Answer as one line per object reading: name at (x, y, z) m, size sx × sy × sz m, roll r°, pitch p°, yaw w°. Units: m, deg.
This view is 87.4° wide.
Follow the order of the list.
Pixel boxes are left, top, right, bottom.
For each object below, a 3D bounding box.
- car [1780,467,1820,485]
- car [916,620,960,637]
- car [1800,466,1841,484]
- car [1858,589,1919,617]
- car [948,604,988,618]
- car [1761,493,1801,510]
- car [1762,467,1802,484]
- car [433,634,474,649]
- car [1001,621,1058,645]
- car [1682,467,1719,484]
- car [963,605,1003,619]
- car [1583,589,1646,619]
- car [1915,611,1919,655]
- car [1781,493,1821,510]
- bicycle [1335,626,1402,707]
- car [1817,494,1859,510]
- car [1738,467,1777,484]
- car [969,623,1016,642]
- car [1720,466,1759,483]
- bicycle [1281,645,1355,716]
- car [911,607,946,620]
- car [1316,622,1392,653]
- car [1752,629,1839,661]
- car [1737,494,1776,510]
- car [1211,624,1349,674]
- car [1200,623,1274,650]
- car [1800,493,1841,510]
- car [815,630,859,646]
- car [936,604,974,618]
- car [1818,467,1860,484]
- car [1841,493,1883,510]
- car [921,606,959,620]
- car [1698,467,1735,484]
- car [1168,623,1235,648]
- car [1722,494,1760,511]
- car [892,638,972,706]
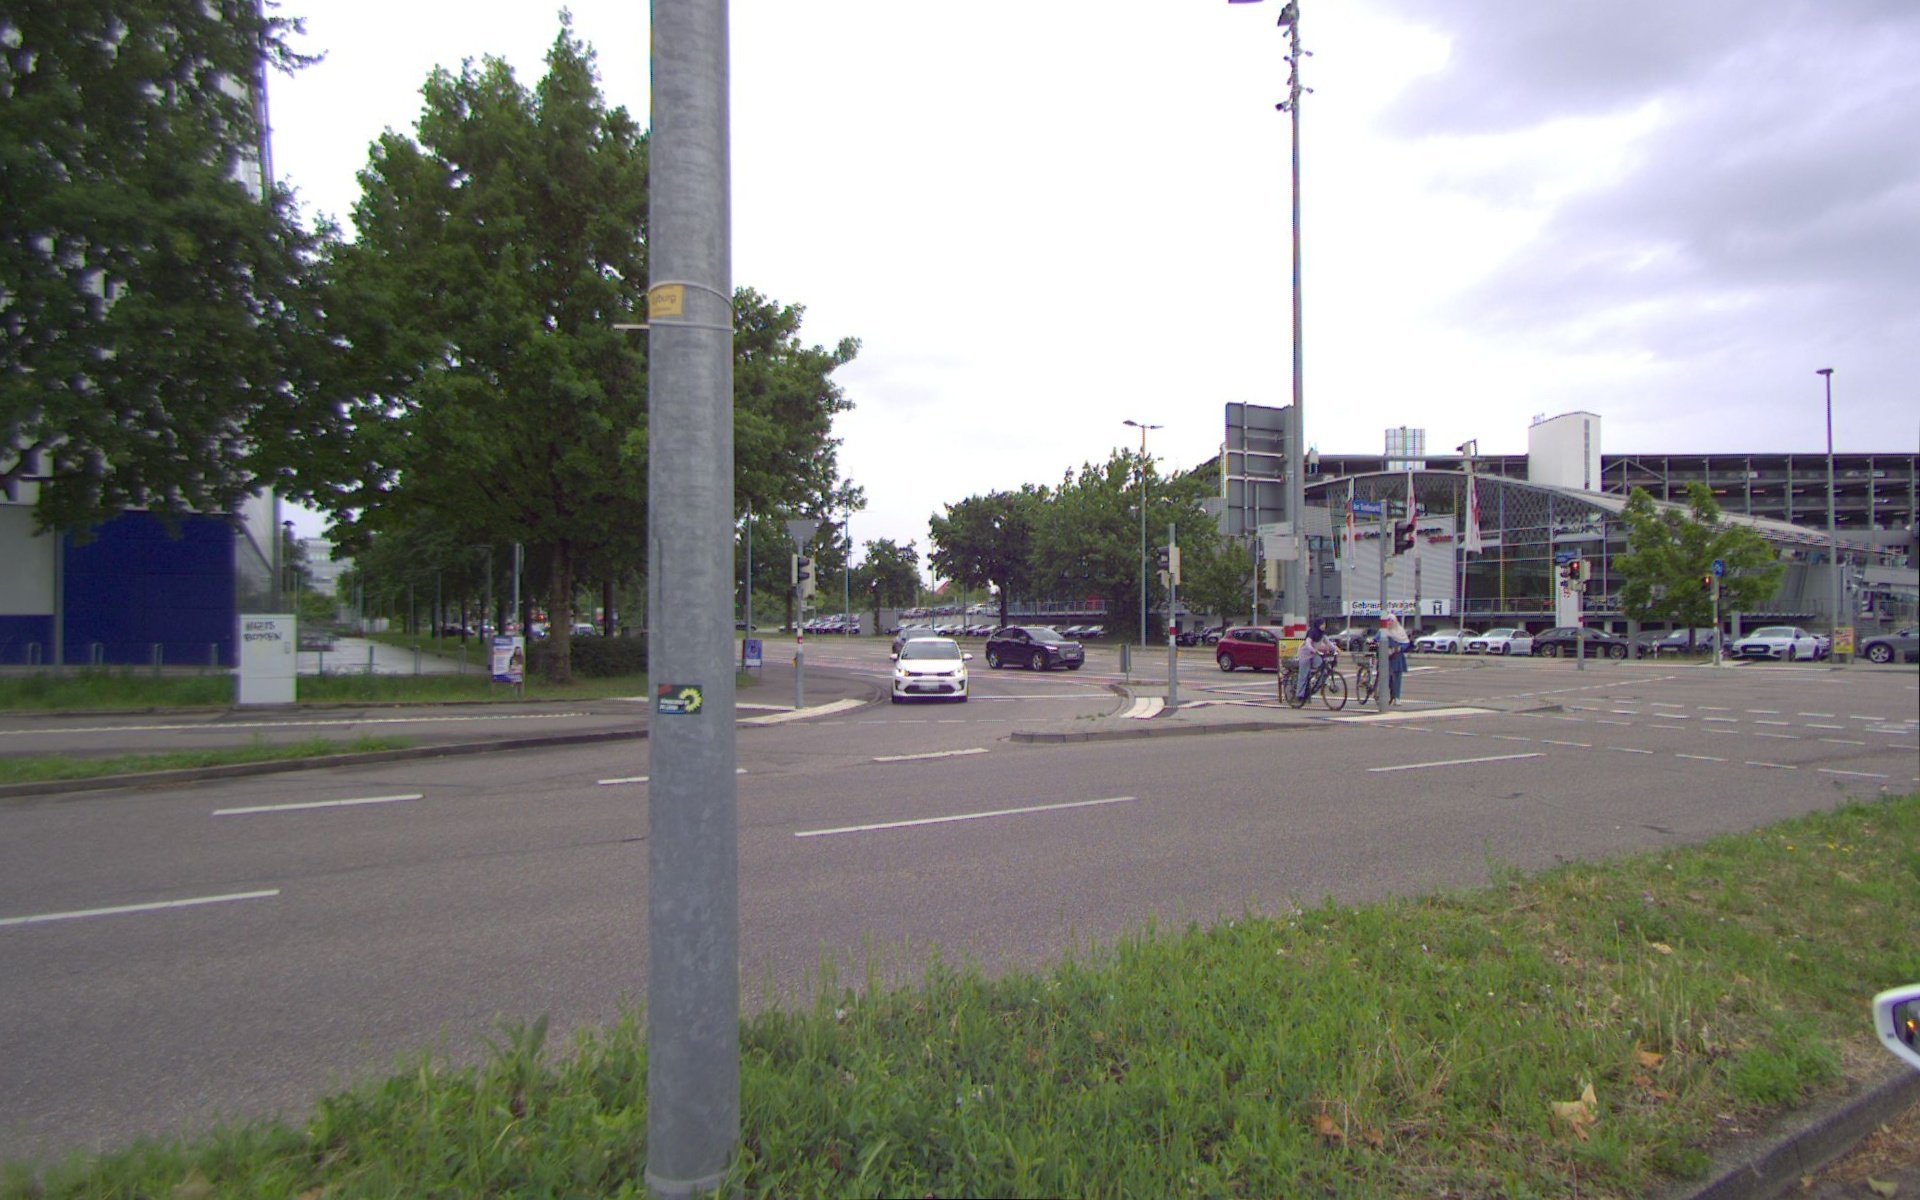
car at (108.899, -16.070, 130.294) m, size 1.960 × 1.689 × 4.001 m, roll 1°, pitch 0°, yaw 2°
car at (-1.986, 2.591, 91.024) m, size 3.639 × 1.506 × 1.696 m, roll 2°, pitch 0°, yaw -34°
car at (111.533, -16.178, 130.227) m, size 1.960 × 1.689 × 4.001 m, roll 1°, pitch 0°, yaw 2°
car at (65.065, 0.215, 69.572) m, size 1.740 × 1.862 × 3.965 m, roll 2°, pitch 0°, yaw -32°
car at (0.969, 1.311, 118.547) m, size 4.306 × 1.516 × 2.049 m, roll 2°, pitch 0°, yaw -35°
car at (106.471, -12.765, 130.270) m, size 1.960 × 1.689 × 4.001 m, roll 1°, pitch 0°, yaw 2°
car at (106.626, -16.139, 130.301) m, size 1.960 × 1.689 × 4.001 m, roll 1°, pitch 0°, yaw 2°
car at (-58.821, 4.782, 116.683) m, size 3.962 × 1.639 × 1.785 m, roll 2°, pitch 0°, yaw -37°
car at (5.580, 2.631, 80.737) m, size 4.168 × 1.505 × 1.940 m, roll 7°, pitch -3°, yaw -34°
car at (96.319, -16.169, 130.676) m, size 1.960 × 1.689 × 4.001 m, roll 1°, pitch 0°, yaw 2°
car at (2.660, 1.351, 116.200) m, size 4.306 × 1.516 × 1.863 m, roll 2°, pitch 0°, yaw -35°
car at (39.401, 0.269, 60.427) m, size 3.960 × 1.684 × 1.807 m, roll 2°, pitch 0°, yaw -35°
car at (46.307, 1.436, 45.032) m, size 1.981 × 2.040 × 4.742 m, roll 2°, pitch -4°, yaw -35°
car at (108.930, -12.758, 130.160) m, size 1.960 × 1.689 × 4.001 m, roll 1°, pitch 0°, yaw 2°
bicycle at (7.540, 1.225, 18.622) m, size 0.585 × 1.414 × 1.936 m, roll -2°, pitch -4°, yaw 7°
car at (113.577, -12.701, 130.011) m, size 1.960 × 1.689 × 4.001 m, roll 1°, pitch 0°, yaw 2°
car at (103.562, -16.208, 130.455) m, size 1.960 × 1.689 × 4.001 m, roll 1°, pitch 0°, yaw 2°
car at (2.719, 2.741, 84.420) m, size 3.639 × 1.506 × 1.696 m, roll 2°, pitch 0°, yaw -34°
car at (101.353, -16.273, 130.641) m, size 1.960 × 1.689 × 4.001 m, roll 1°, pitch 0°, yaw 2°
bicycle at (6.350, 1.408, 17.933) m, size 0.498 × 1.181 × 1.947 m, roll 2°, pitch -3°, yaw -3°
car at (-3.928, 1.694, 124.558) m, size 4.058 × 1.516 × 1.713 m, roll 2°, pitch 0°, yaw -35°
car at (21.625, 2.086, 55.117) m, size 4.148 × 1.505 × 1.891 m, roll 4°, pitch -3°, yaw -34°
car at (53.313, 2.859, 64.133) m, size 1.742 × 1.862 × 3.960 m, roll 2°, pitch 0°, yaw -35°
car at (103.684, -12.728, 130.761) m, size 1.960 × 1.689 × 4.001 m, roll 1°, pitch 0°, yaw 2°
car at (10.246, 1.581, 32.429) m, size 1.724 × 1.507 × 4.039 m, roll 2°, pitch -3°, yaw -35°
car at (17.153, 2.263, 62.061) m, size 4.617 × 1.491 × 1.830 m, roll 4°, pitch -2°, yaw -34°
car at (111.432, -12.739, 130.113) m, size 1.960 × 1.689 × 4.001 m, roll 1°, pitch 0°, yaw 2°
car at (-13.521, 4.167, 110.138) m, size 4.413 × 1.592 × 1.981 m, roll 0°, pitch -1°, yaw -34°
car at (-0.598, 1.360, 120.553) m, size 4.306 × 1.516 × 1.951 m, roll 2°, pitch 0°, yaw -35°
car at (113.707, -16.106, 130.014) m, size 1.960 × 1.689 × 4.001 m, roll 1°, pitch 0°, yaw 2°
car at (116.548, -12.747, 129.880) m, size 1.960 × 1.689 × 4.001 m, roll 1°, pitch 0°, yaw 2°
car at (-2.431, 1.601, 122.418) m, size 4.306 × 1.516 × 1.863 m, roll 2°, pitch 0°, yaw -35°
car at (98.537, -16.254, 130.848) m, size 1.960 × 1.689 × 4.001 m, roll 1°, pitch 0°, yaw 2°
car at (15.455, 2.283, 64.300) m, size 4.175 × 1.439 × 1.838 m, roll 4°, pitch -3°, yaw -34°
car at (101.476, -12.659, 130.505) m, size 1.960 × 1.689 × 4.001 m, roll 1°, pitch 0°, yaw 2°
car at (-0.606, 1.640, 23.847) m, size 1.752 × 1.471 × 3.934 m, roll 0°, pitch -2°, yaw 0°
